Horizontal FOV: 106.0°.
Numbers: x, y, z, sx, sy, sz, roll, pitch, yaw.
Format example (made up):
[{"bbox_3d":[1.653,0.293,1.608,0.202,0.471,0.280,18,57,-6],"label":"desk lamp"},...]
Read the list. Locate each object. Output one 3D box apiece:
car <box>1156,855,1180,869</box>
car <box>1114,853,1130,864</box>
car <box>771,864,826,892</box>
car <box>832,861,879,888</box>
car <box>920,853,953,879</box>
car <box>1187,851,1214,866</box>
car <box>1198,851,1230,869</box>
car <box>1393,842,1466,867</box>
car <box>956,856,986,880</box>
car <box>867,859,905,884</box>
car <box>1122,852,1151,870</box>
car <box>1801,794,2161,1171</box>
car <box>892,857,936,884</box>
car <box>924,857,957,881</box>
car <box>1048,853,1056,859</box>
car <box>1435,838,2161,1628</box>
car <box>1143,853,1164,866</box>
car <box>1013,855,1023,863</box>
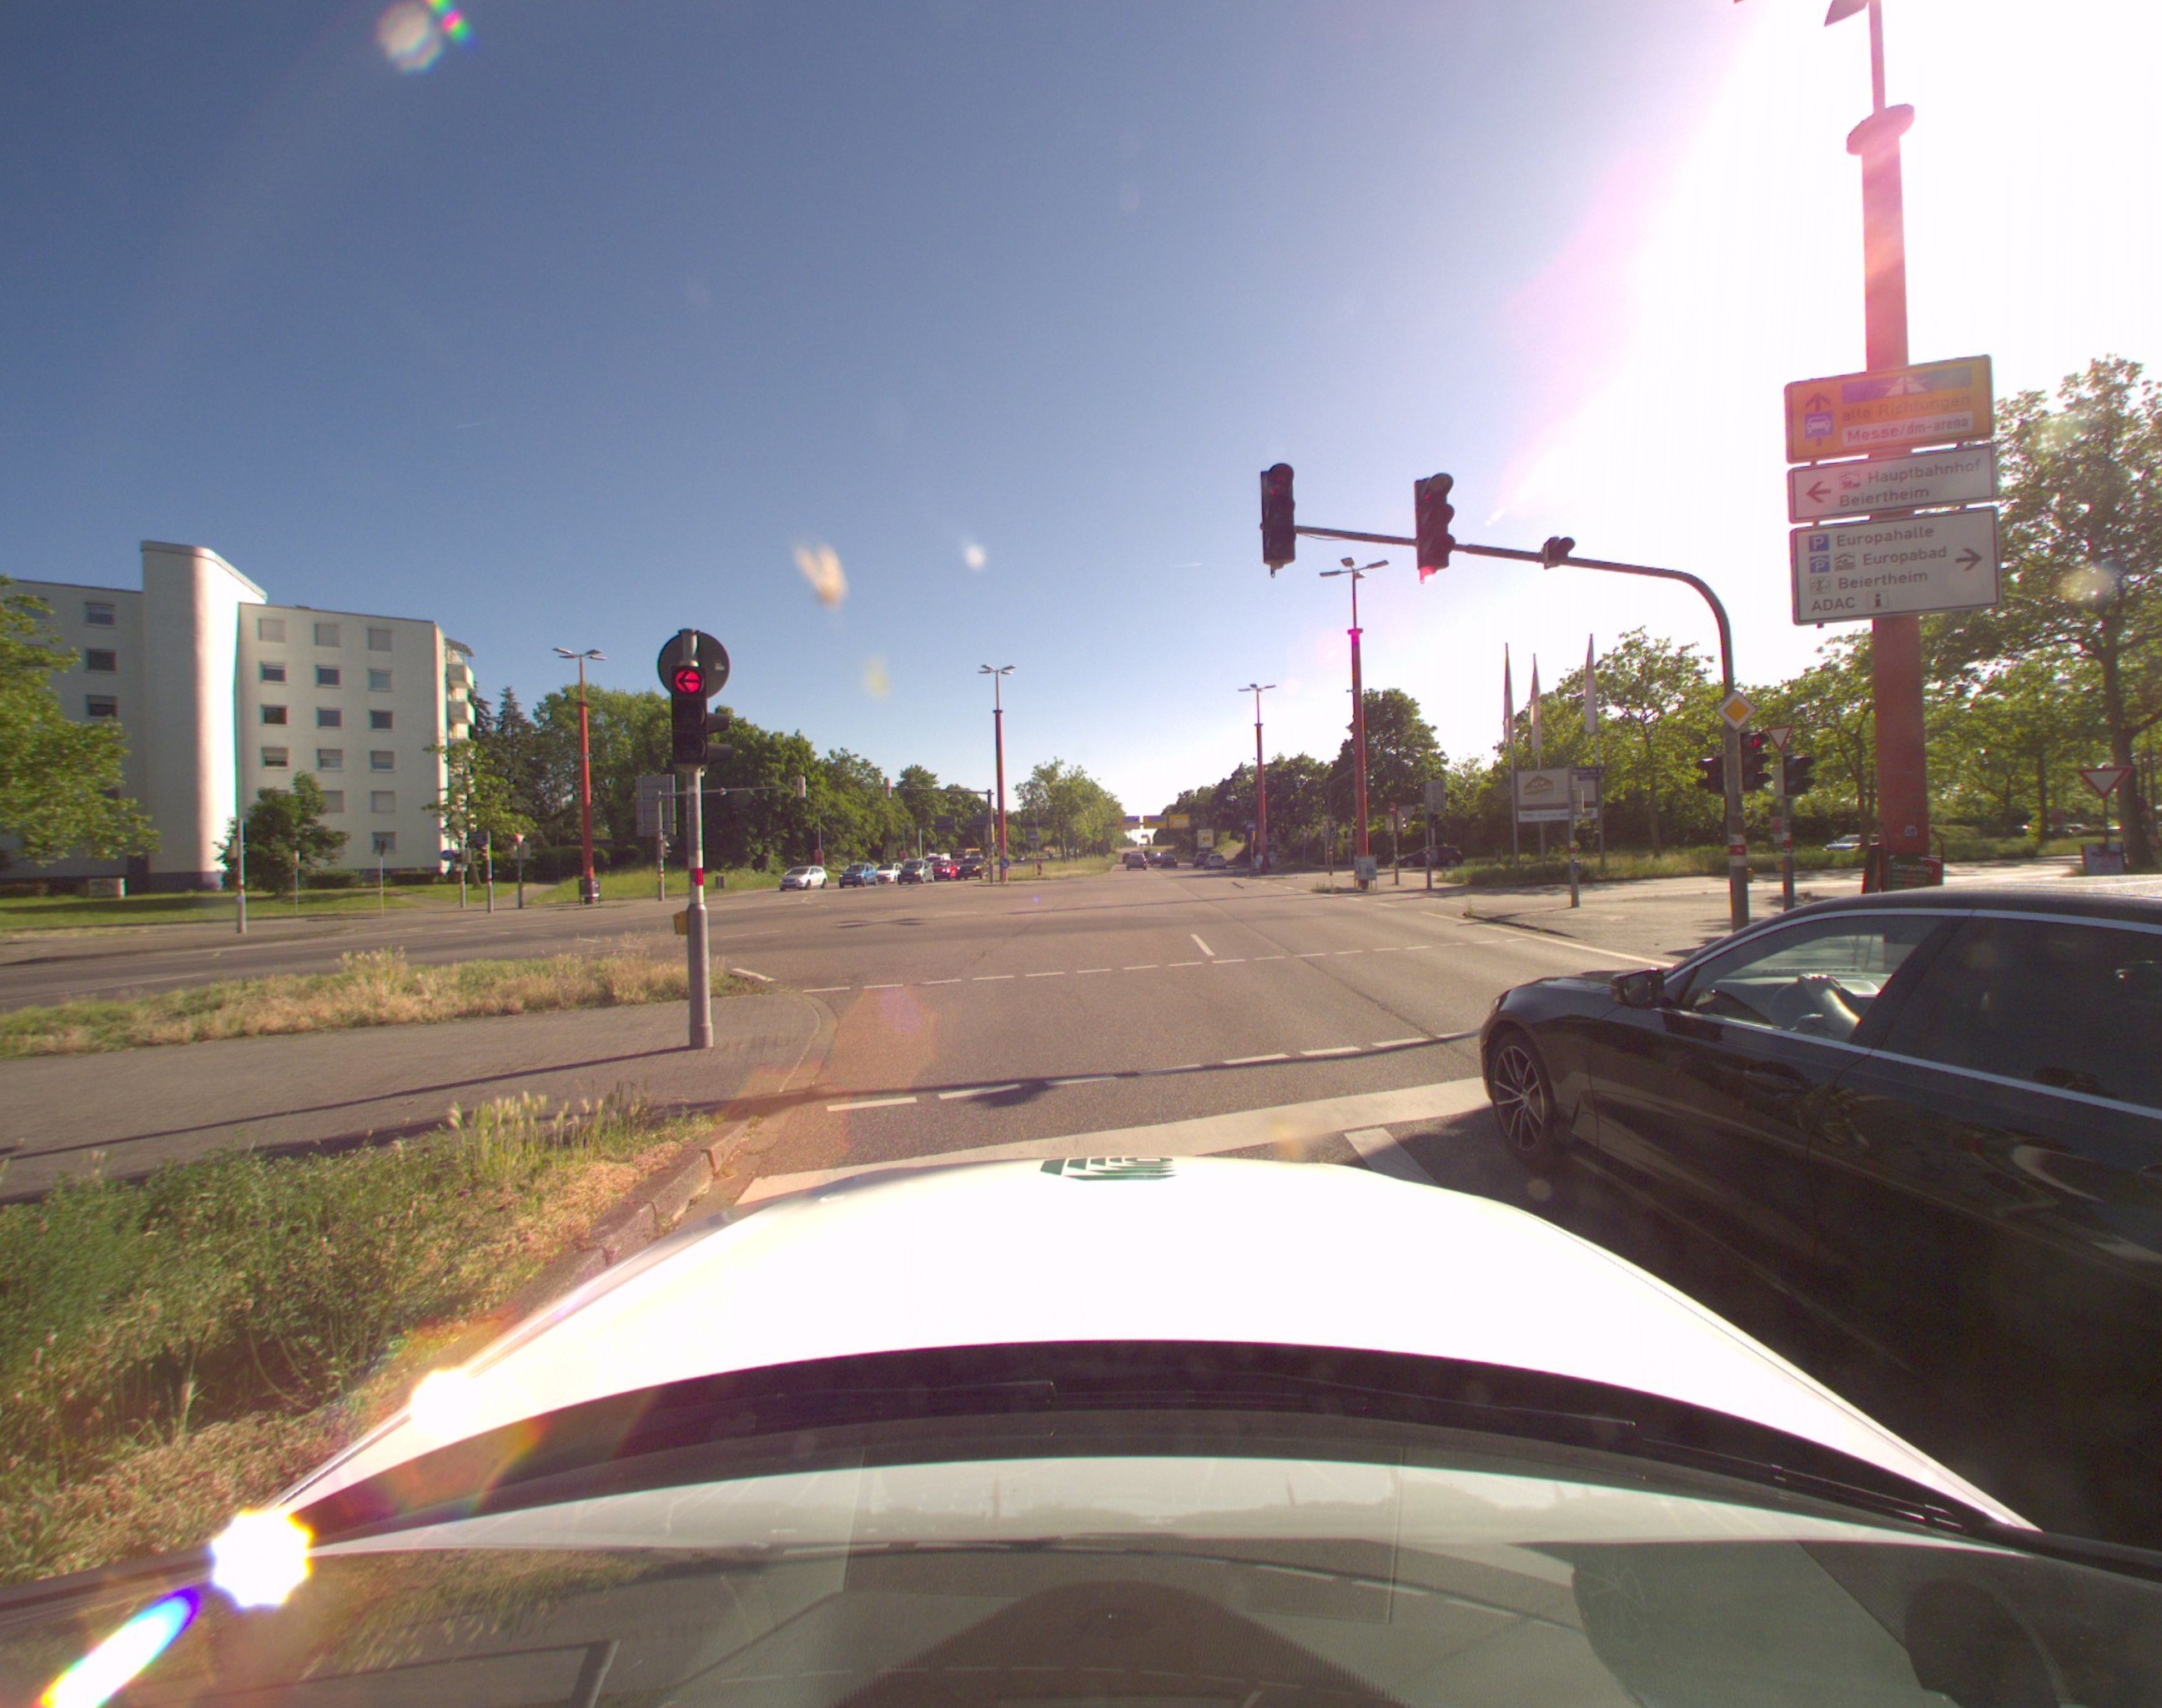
[{"bbox_3d":[9.409,0.887,88.498,1.948,1.442,4.277,-2,0,-2],"label":"car"},{"bbox_3d":[6.234,0.708,124.303,2.153,1.573,4.277,-2,0,-2],"label":"car"},{"bbox_3d":[-17.695,1.467,51.174,1.987,1.573,4.120,-2,0,0],"label":"car"},{"bbox_3d":[-14.238,1.284,51.634,1.989,1.573,4.116,-2,0,-3],"label":"car"},{"bbox_3d":[-12.736,1.052,71.980,2.055,2.193,4.377,-2,0,0],"label":"car"},{"bbox_3d":[13.018,0.460,89.004,2.153,1.573,4.277,-2,0,-2],"label":"car"},{"bbox_3d":[12.602,0.586,77.351,2.153,1.573,4.277,-2,0,-2],"label":"car"},{"bbox_3d":[23.732,0.030,55.591,4.237,1.573,2.174,-2,0,13],"label":"car"},{"bbox_3d":[-7.568,0.939,56.483,1.874,1.573,4.112,-2,0,-6],"label":"car"},{"bbox_3d":[-13.740,1.216,57.517,1.991,1.573,4.112,-3,0,-6],"label":"car"},{"bbox_3d":[5.148,0.666,76.395,2.241,1.573,4.276,-2,0,-3],"label":"car"},{"bbox_3d":[5.796,0.563,3.254,1.959,1.686,4.479,-1,0,2],"label":"car"},{"bbox_3d":[-10.734,1.046,52.574,1.988,1.573,4.119,-2,0,-1],"label":"car"},{"bbox_3d":[-10.105,1.046,58.865,1.991,1.573,4.112,-2,0,-6],"label":"car"},{"bbox_3d":[-7.703,0.572,214.408,1.987,1.573,4.120,-2,0,0],"label":"car"},{"bbox_3d":[2.949,0.668,2.366,1.986,1.394,4.479,-2,0,2],"label":"car"},{"bbox_3d":[9.287,0.649,105.022,2.153,1.573,4.277,-2,0,-2],"label":"car"},{"bbox_3d":[-13.773,1.120,178.882,1.988,1.573,4.118,-2,0,-1],"label":"car"}]
